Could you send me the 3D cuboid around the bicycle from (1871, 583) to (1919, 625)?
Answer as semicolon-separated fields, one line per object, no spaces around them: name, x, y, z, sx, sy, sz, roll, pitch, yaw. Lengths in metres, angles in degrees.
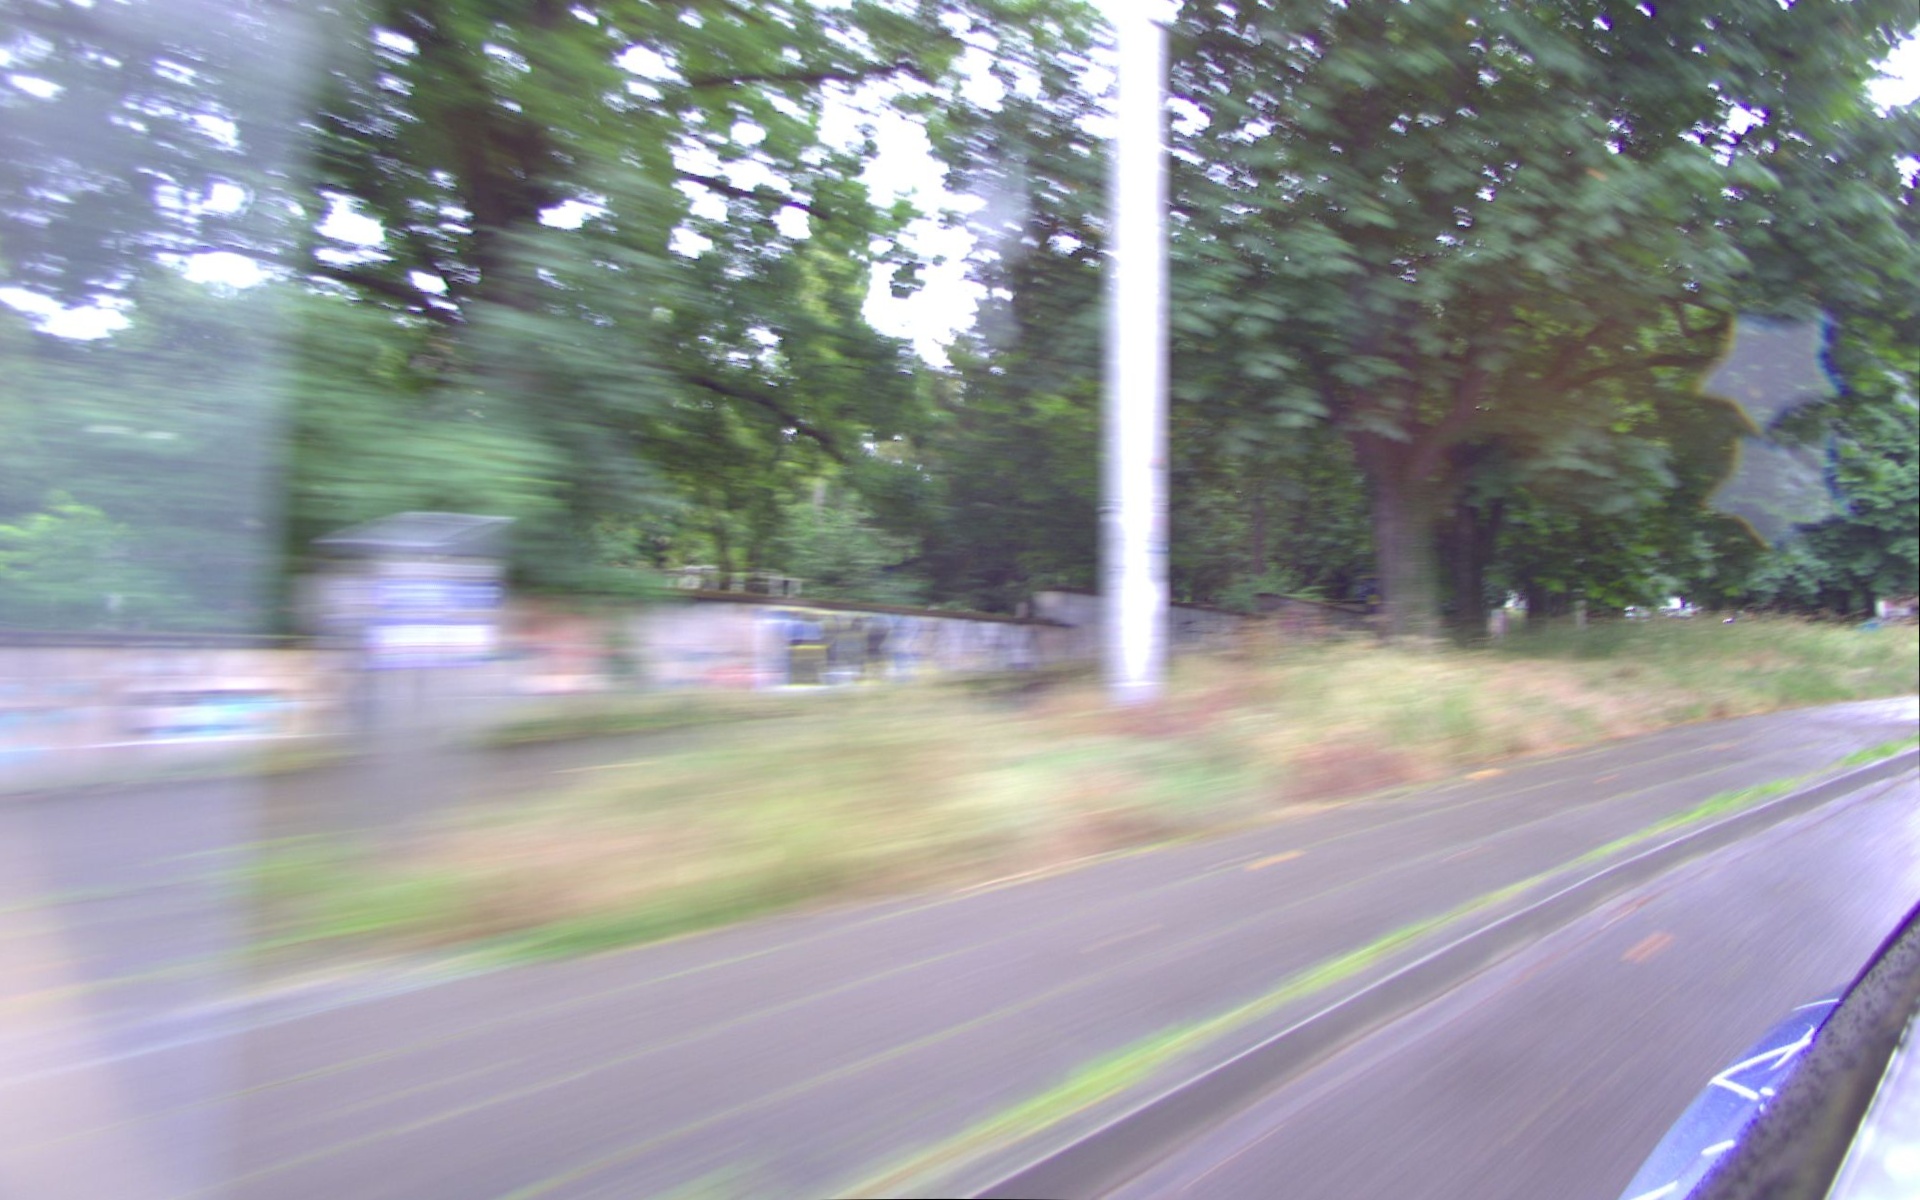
bicycle;26.507;0.101;28.133;0.615;1.155;1.709;1;-1;-41

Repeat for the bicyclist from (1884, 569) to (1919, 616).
bicyclist;26.549;-0.207;28.436;0.584;1.311;0.798;2;-2;-42
